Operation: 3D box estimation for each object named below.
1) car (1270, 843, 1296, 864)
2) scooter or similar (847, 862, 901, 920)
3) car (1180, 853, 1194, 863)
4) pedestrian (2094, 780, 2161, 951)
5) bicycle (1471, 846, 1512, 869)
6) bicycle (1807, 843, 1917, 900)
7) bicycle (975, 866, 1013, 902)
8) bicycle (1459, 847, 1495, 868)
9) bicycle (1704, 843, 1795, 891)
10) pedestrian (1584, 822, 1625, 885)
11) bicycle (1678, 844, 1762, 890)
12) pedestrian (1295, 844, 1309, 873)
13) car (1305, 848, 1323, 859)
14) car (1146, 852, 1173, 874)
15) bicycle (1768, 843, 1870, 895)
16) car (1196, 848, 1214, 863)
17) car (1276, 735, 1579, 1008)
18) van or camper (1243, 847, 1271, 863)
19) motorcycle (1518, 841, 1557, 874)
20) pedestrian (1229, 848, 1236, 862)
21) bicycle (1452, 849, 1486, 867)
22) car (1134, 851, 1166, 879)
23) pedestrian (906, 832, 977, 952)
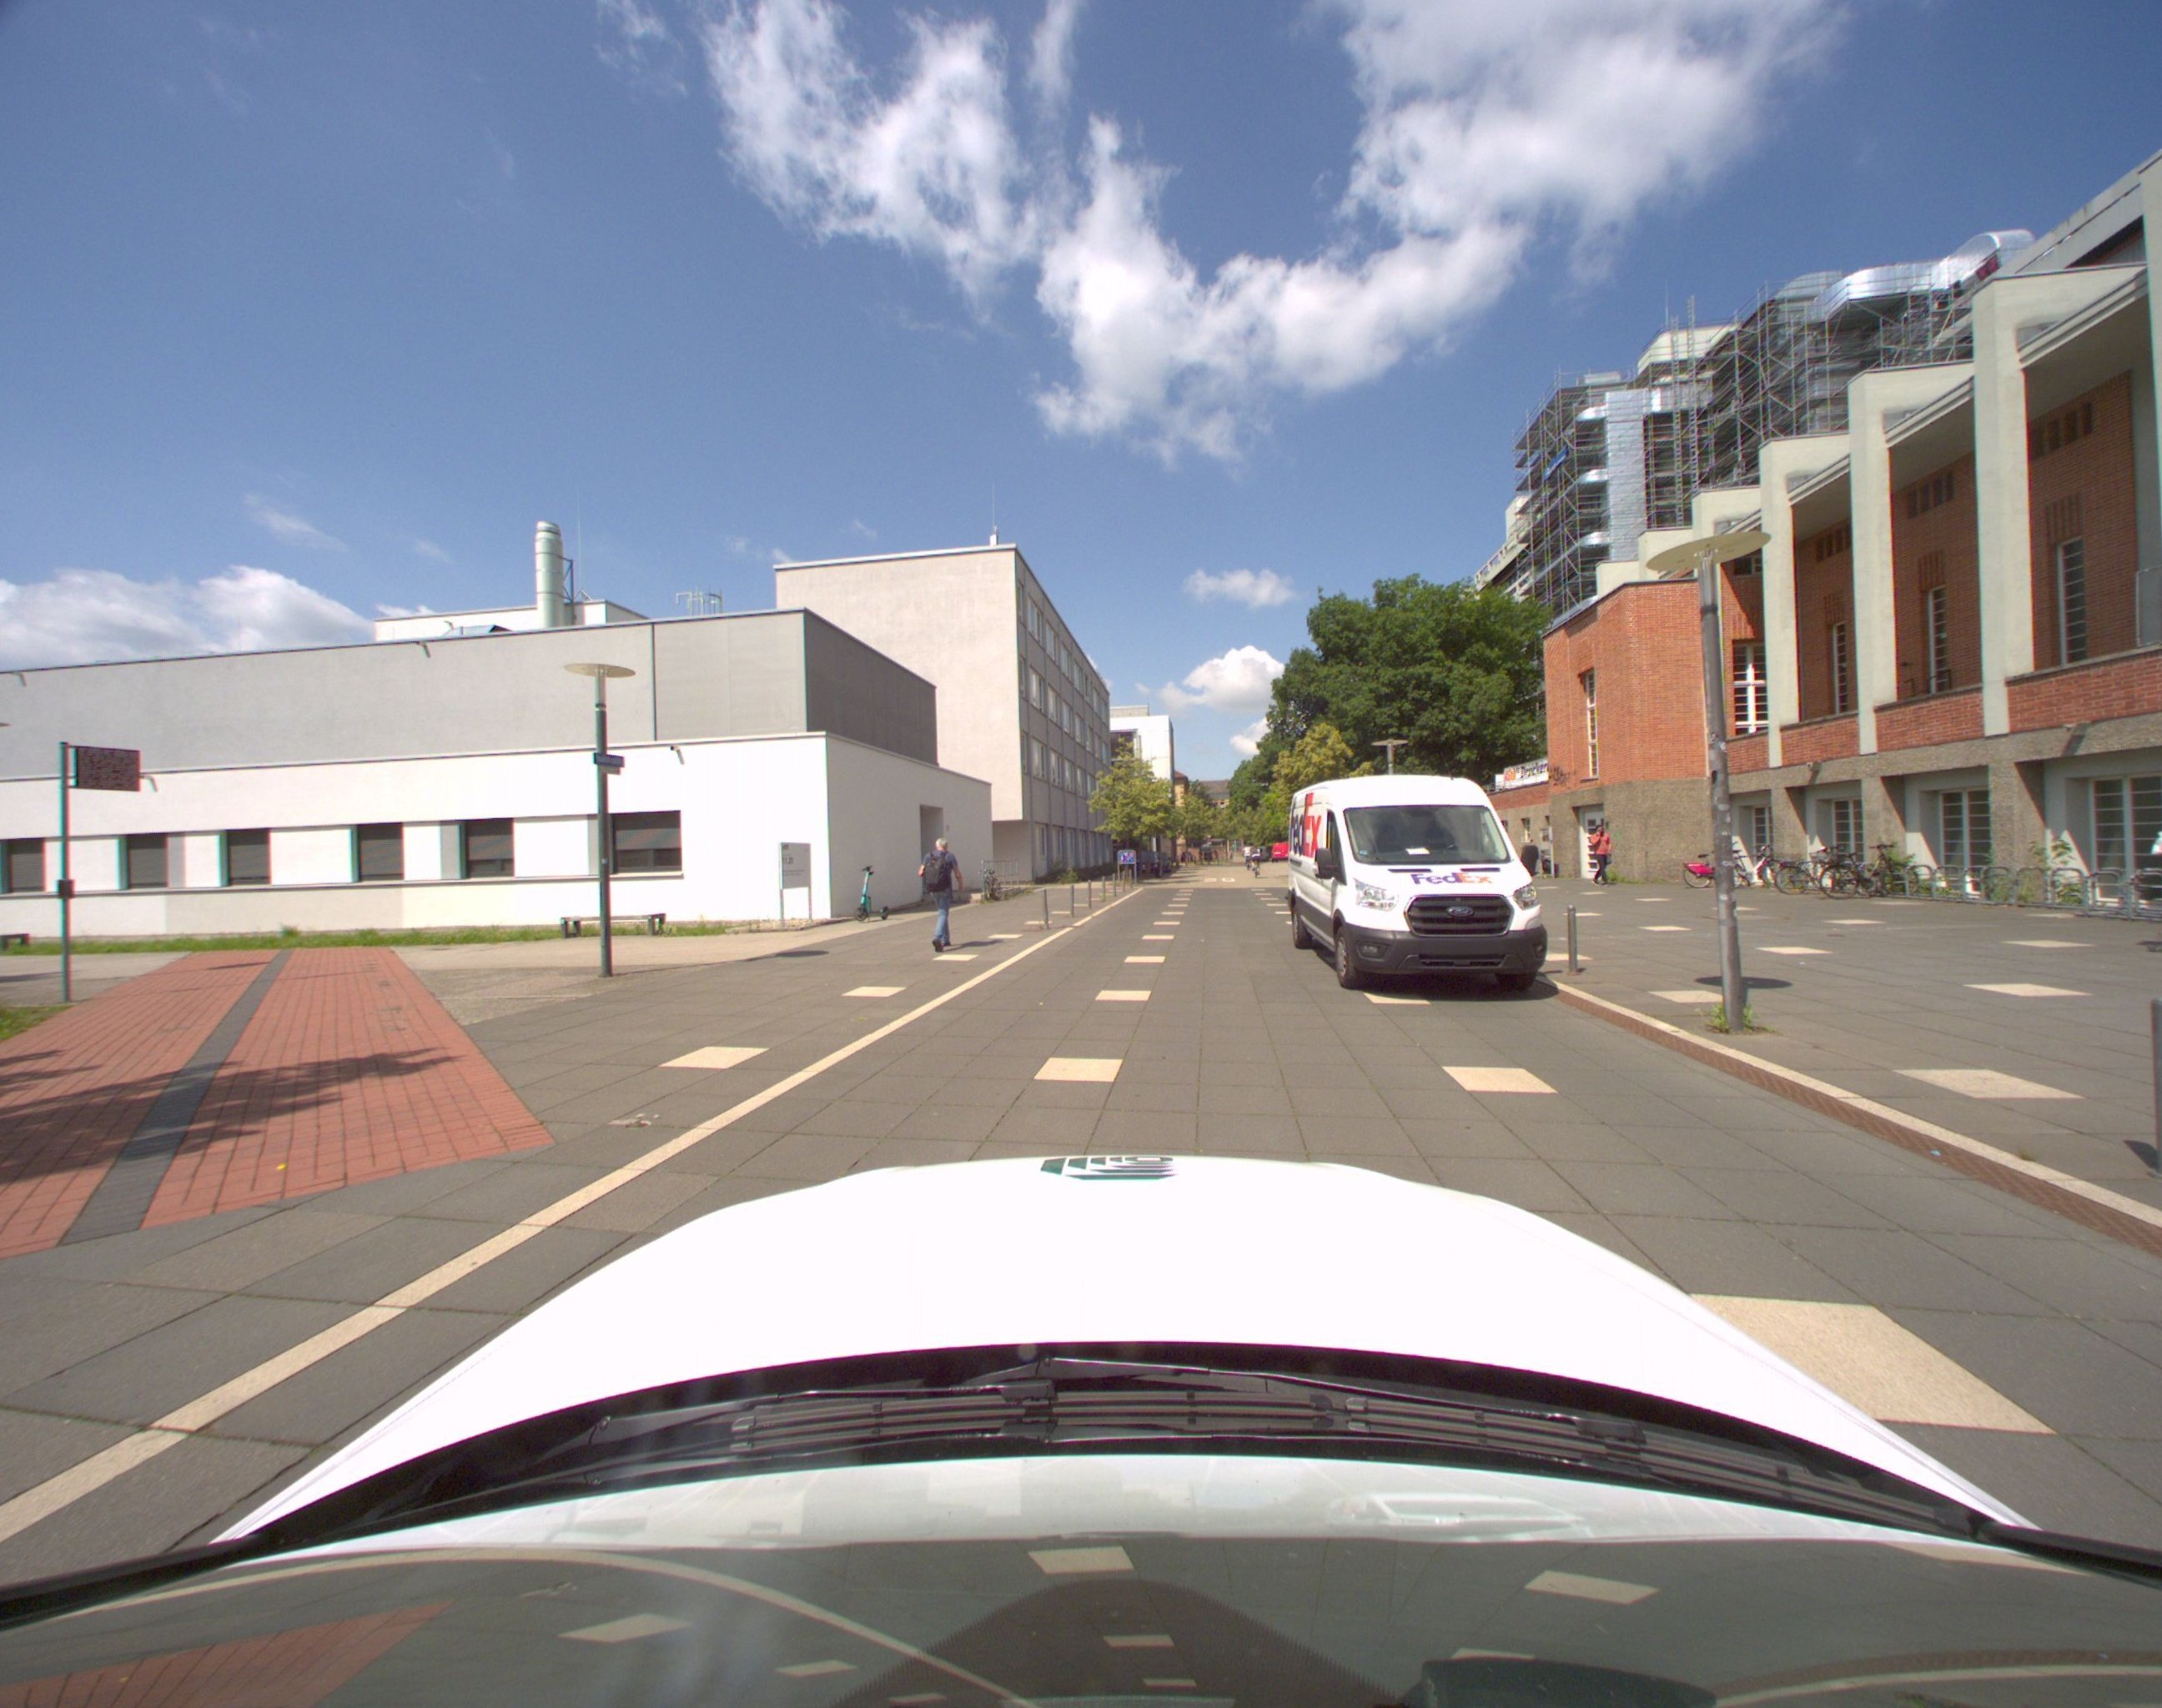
[{"bbox_3d":[19.032,-0.044,76.639,1.833,1.891,4.914,-2,0,19],"label":"car"},{"bbox_3d":[-4.707,0.827,18.612,0.478,1.263,1.320,-2,0,21],"label":"scooter or similar"},{"bbox_3d":[14.747,0.587,112.840,1.807,1.324,3.776,-2,0,8],"label":"car"},{"bbox_3d":[12.026,0.114,8.718,0.840,1.834,1.199,-2,0,4],"label":"pedestrian"},{"bbox_3d":[21.254,0.189,42.181,1.795,1.109,0.449,-2,0,9],"label":"bicycle"},{"bbox_3d":[15.973,0.356,16.674,1.673,1.110,0.436,-2,0,7],"label":"bicycle"},{"bbox_3d":[-2.719,0.932,25.691,0.539,1.061,1.906,-2,0,14],"label":"bicycle"},{"bbox_3d":[21.502,0.190,44.231,1.691,1.109,0.449,-2,0,9],"label":"bicycle"},{"bbox_3d":[16.777,0.320,20.457,1.743,1.149,0.519,-2,0,7],"label":"bicycle"},{"bbox_3d":[15.513,-0.018,24.144,0.659,1.834,0.908,-2,0,6],"label":"pedestrian"},{"bbox_3d":[16.840,0.331,21.481,1.743,1.149,0.436,-2,0,7],"label":"bicycle"},{"bbox_3d":[13.484,0.272,49.663,0.639,1.697,0.793,-2,0,4],"label":"pedestrian"},{"bbox_3d":[36.132,-0.105,126.443,1.743,1.522,4.137,-2,0,30],"label":"car"},{"bbox_3d":[5.608,0.633,57.752,1.768,1.461,4.268,-1,0,7],"label":"car"},{"bbox_3d":[16.412,0.332,18.131,1.738,1.110,0.436,-2,0,7],"label":"bicycle"},{"bbox_3d":[17.111,0.197,112.517,2.163,1.926,5.196,-2,0,7],"label":"car"},{"bbox_3d":[3.987,0.173,10.690,2.048,2.543,5.861,-2,0,7],"label":"car"},{"bbox_3d":[22.386,0.087,103.368,1.935,1.923,5.453,-1,0,29],"label":"van or camper"},{"bbox_3d":[19.002,0.140,33.941,0.691,1.323,2.227,-2,0,11],"label":"motorcycle"},{"bbox_3d":[19.200,0.095,103.306,0.578,1.764,0.917,-2,0,29],"label":"pedestrian"},{"bbox_3d":[22.165,0.236,46.518,1.661,1.003,0.449,-2,0,9],"label":"bicycle"},{"bbox_3d":[4.246,0.621,49.589,1.687,1.564,4.076,-2,0,7],"label":"car"},{"bbox_3d":[-2.224,0.588,13.092,0.819,1.817,1.145,-2,0,4],"label":"pedestrian"}]
